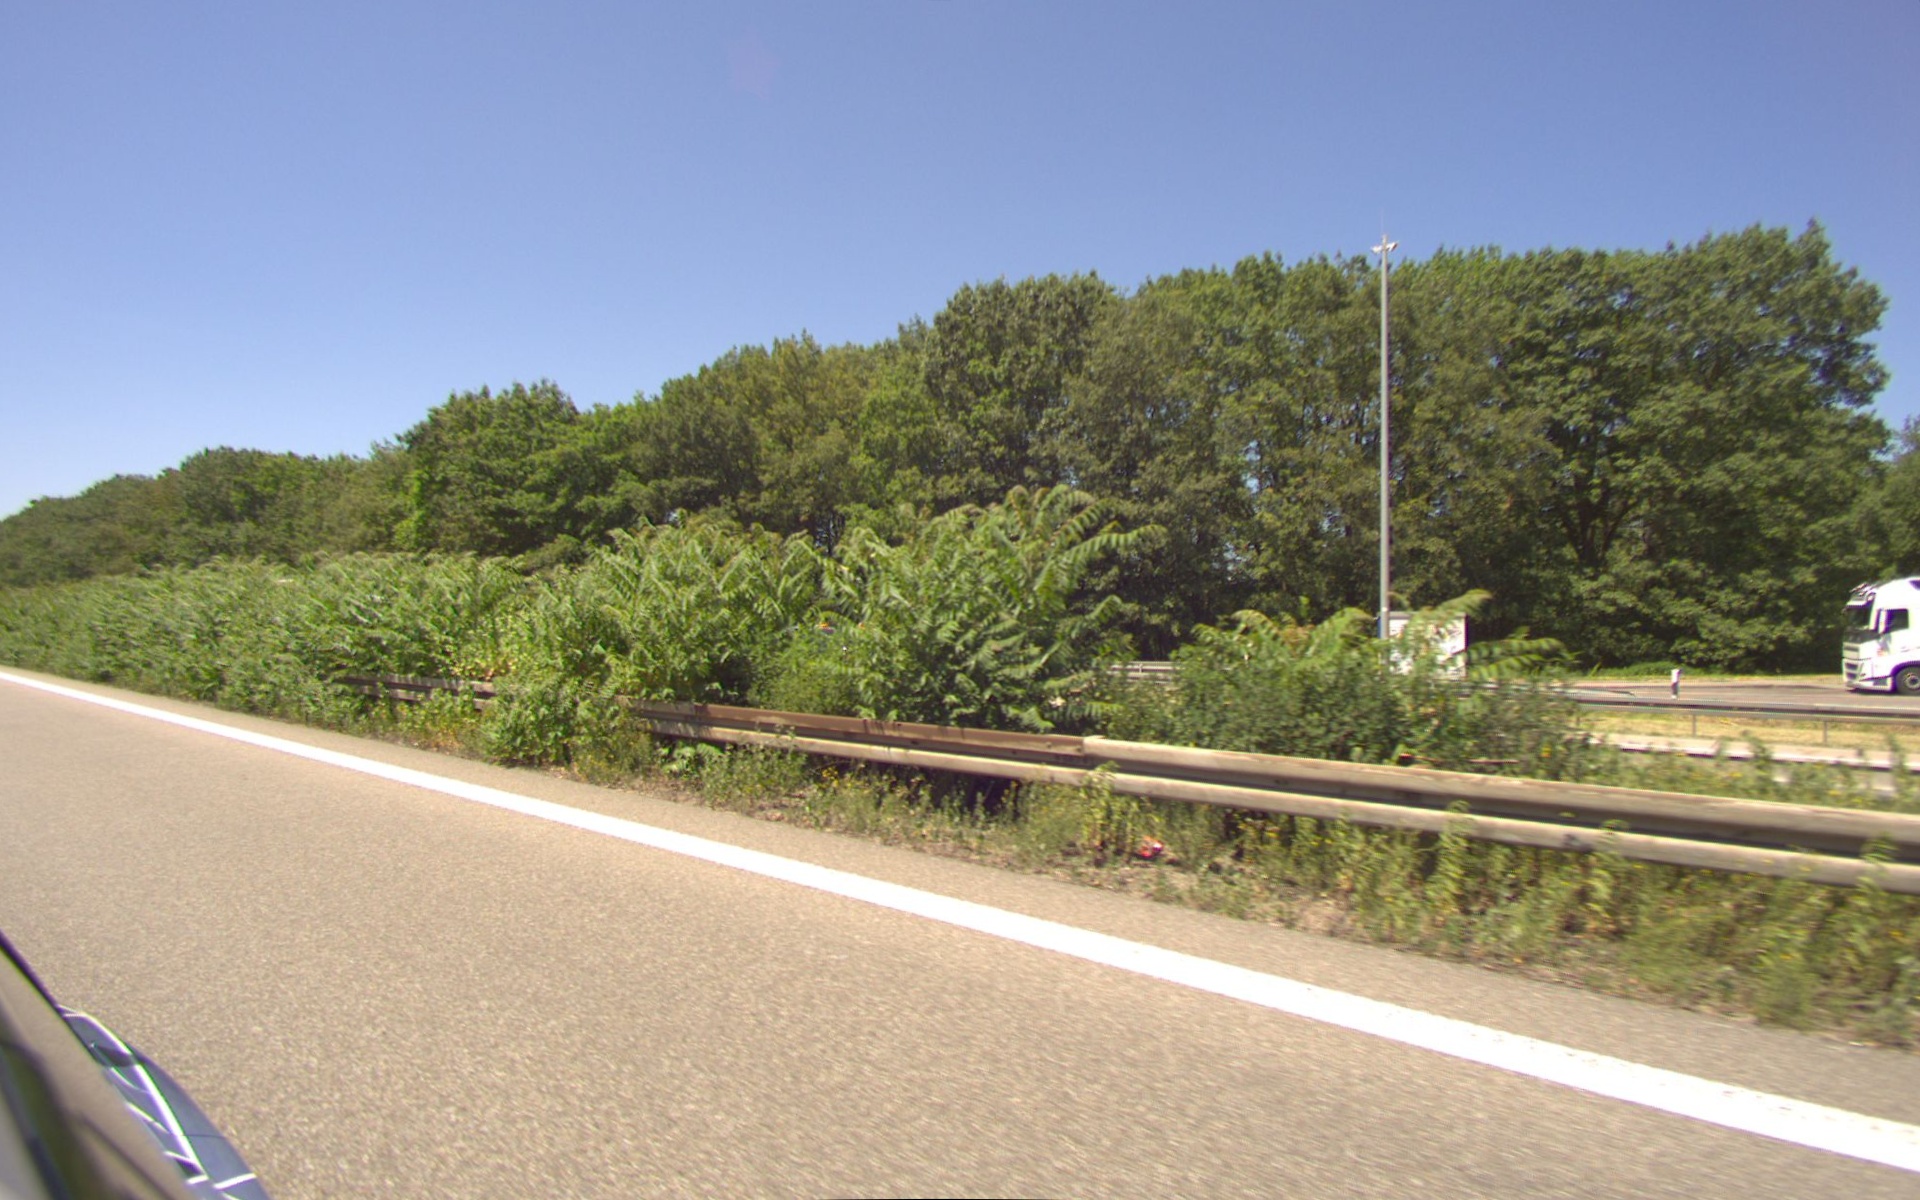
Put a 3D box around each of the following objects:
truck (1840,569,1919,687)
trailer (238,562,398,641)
[{"bbox_3d":[32.239,0.922,33.108,4.672,3.797,2.592,-1,-2,30],"label":"truck"},{"bbox_3d":[-33.161,0.159,51.897,13.420,3.597,2.934,-1,-1,39],"label":"trailer"}]
